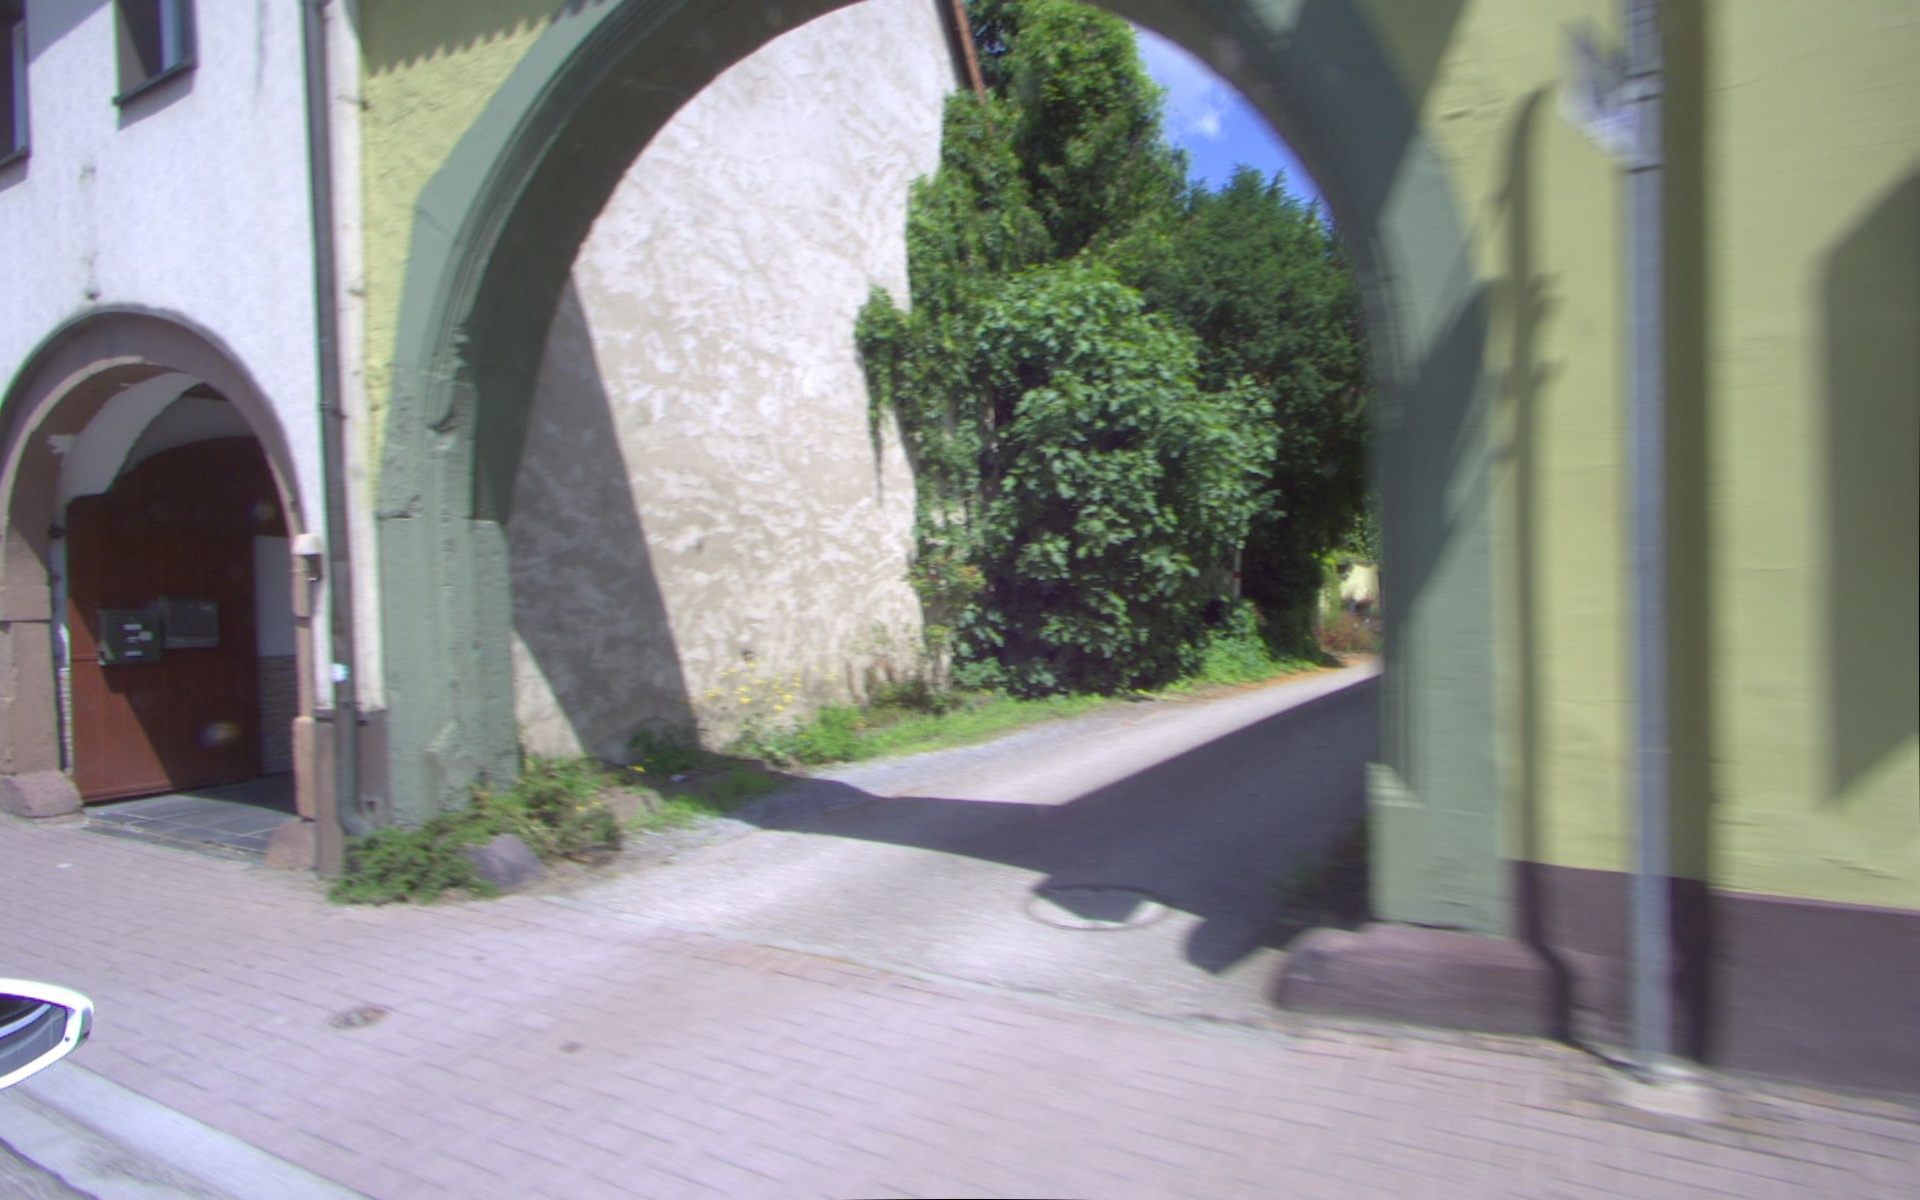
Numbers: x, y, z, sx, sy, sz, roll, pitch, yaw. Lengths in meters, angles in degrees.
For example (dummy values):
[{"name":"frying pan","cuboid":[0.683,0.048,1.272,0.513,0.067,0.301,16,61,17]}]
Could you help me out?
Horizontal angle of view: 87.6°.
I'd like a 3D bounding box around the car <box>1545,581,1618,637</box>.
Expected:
[{"name":"car","cuboid":[17.792,0.226,28.604,1.572,1.428,3.635,-1,1,35]}]
